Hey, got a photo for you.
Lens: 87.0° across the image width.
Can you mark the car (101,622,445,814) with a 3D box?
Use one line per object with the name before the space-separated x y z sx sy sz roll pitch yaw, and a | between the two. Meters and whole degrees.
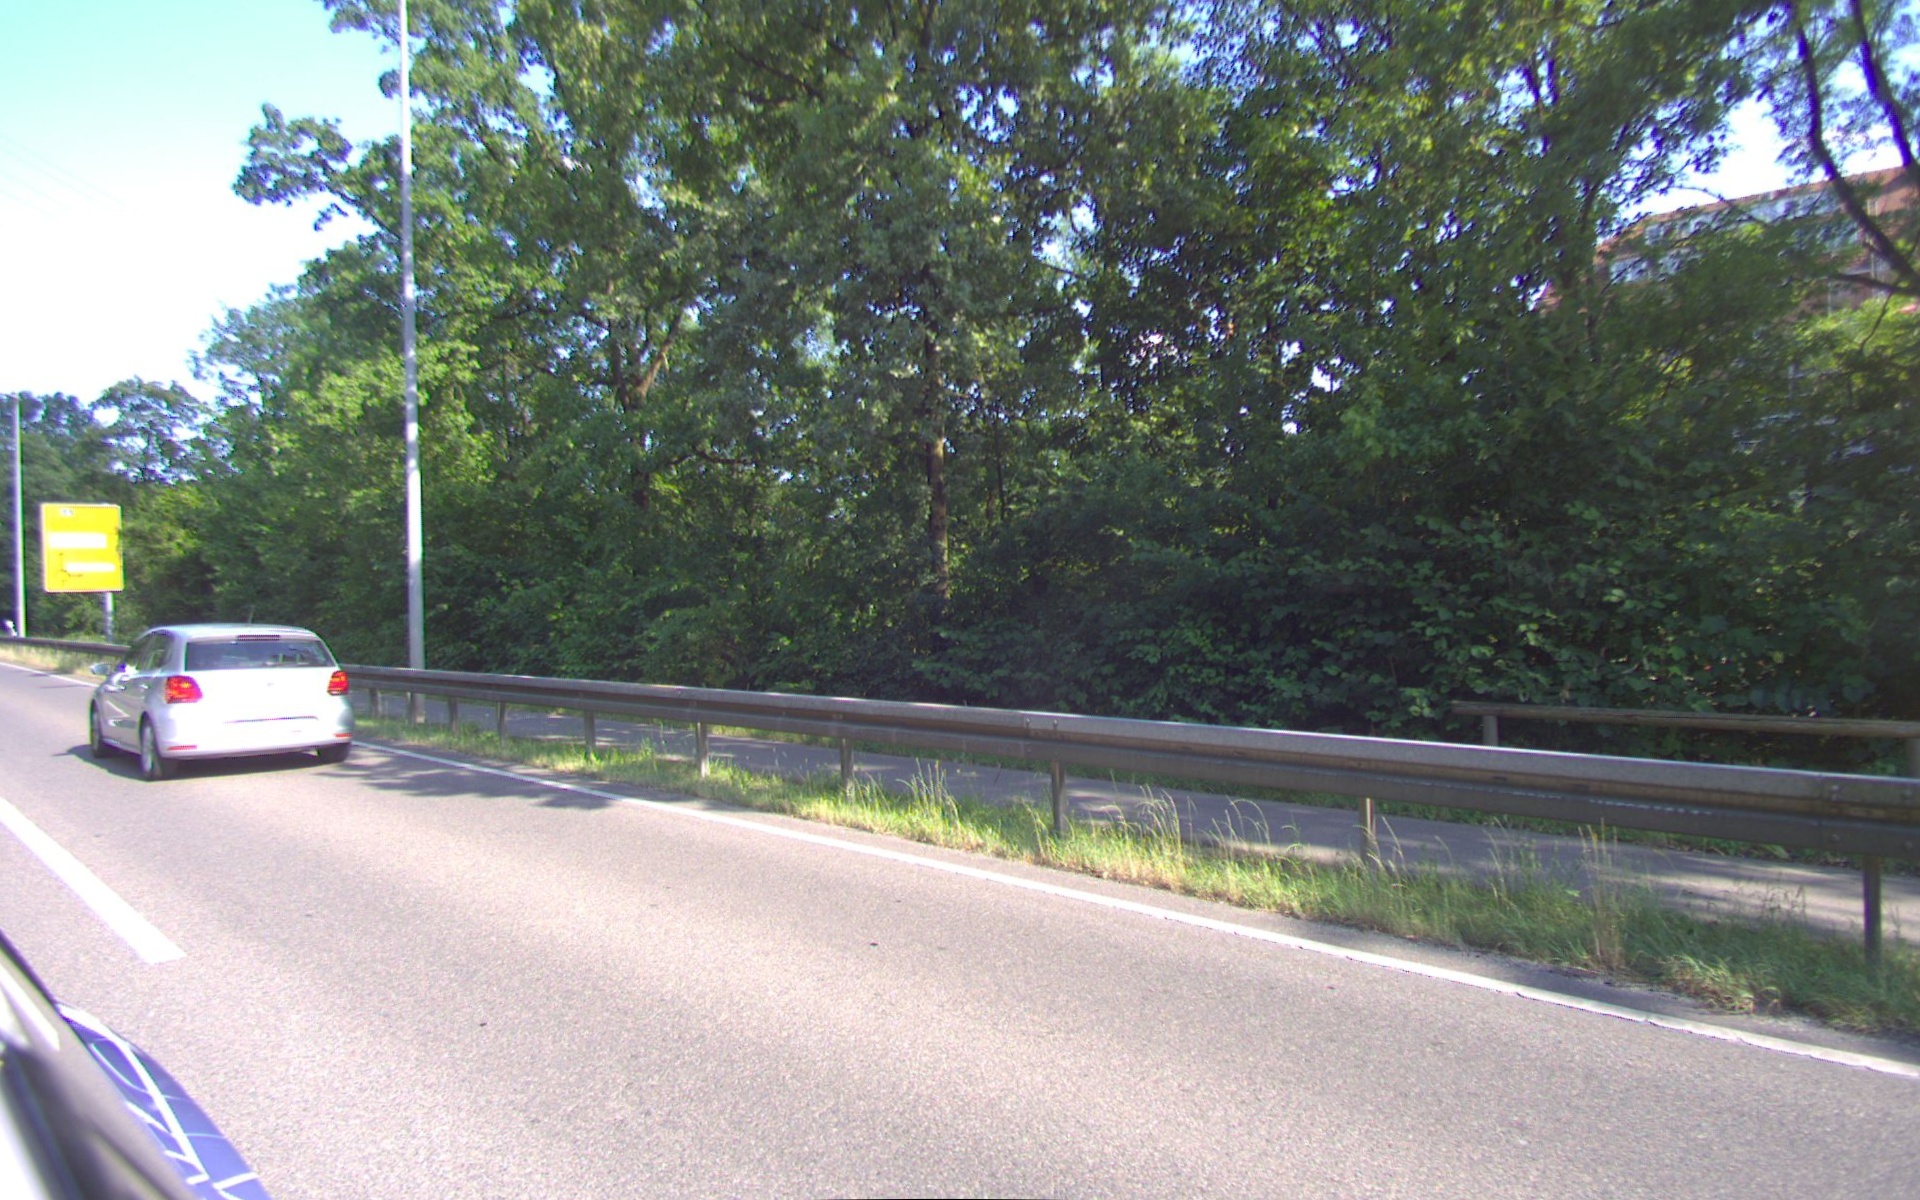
car | -6.429 0.909 9.303 4.044 1.387 1.606 -1 -2 41
